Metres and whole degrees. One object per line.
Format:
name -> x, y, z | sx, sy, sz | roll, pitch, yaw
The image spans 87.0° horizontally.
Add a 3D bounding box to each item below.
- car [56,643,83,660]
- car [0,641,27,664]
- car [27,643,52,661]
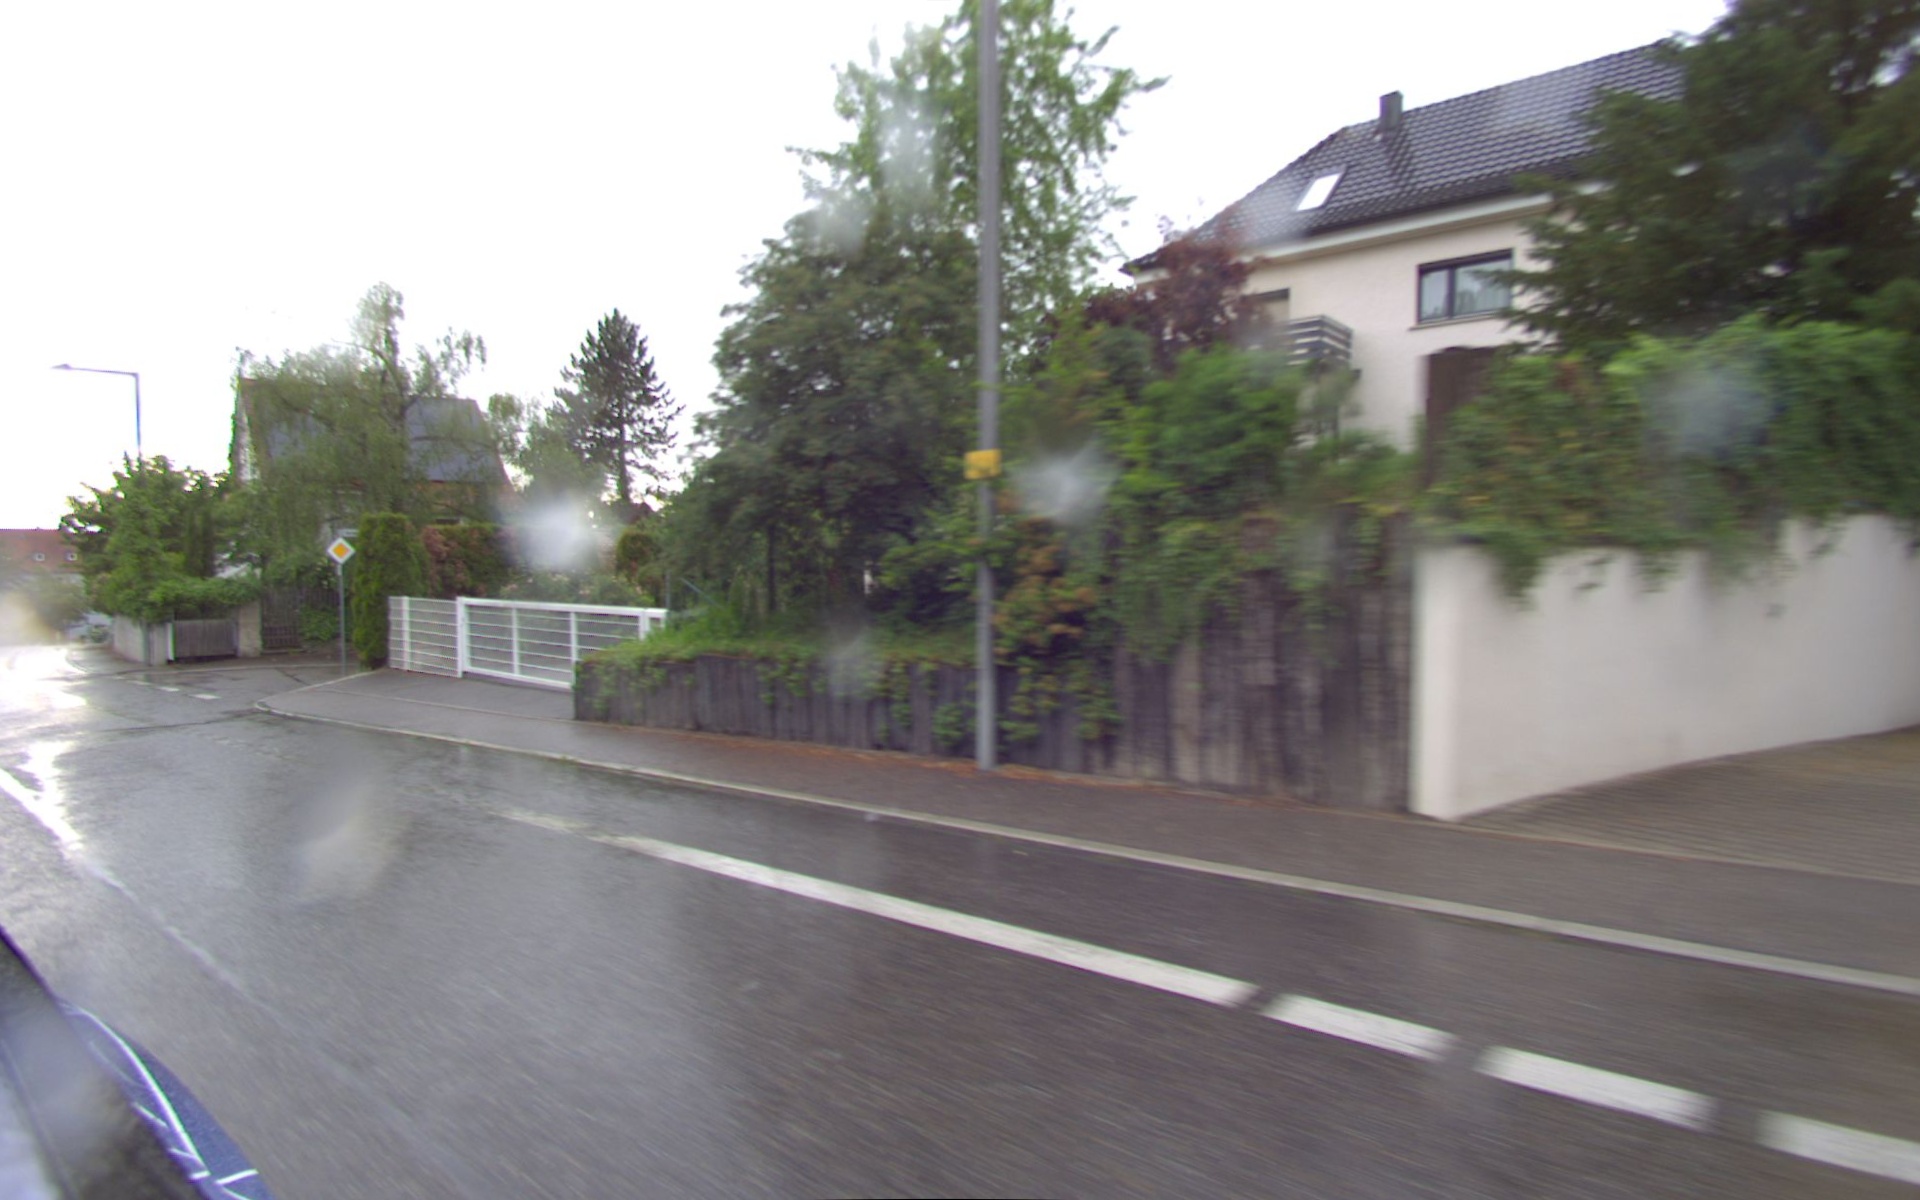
car -> -94.936, 5.483, 107.877 | 3.793, 1.575, 1.701 | 1, -1, 41
car -> -73.811, 4.012, 76.690 | 4.468, 1.673, 1.859 | 0, -4, -39
car -> -96.231, 5.396, 105.773 | 1.770, 1.605, 4.260 | 3, -1, -44
